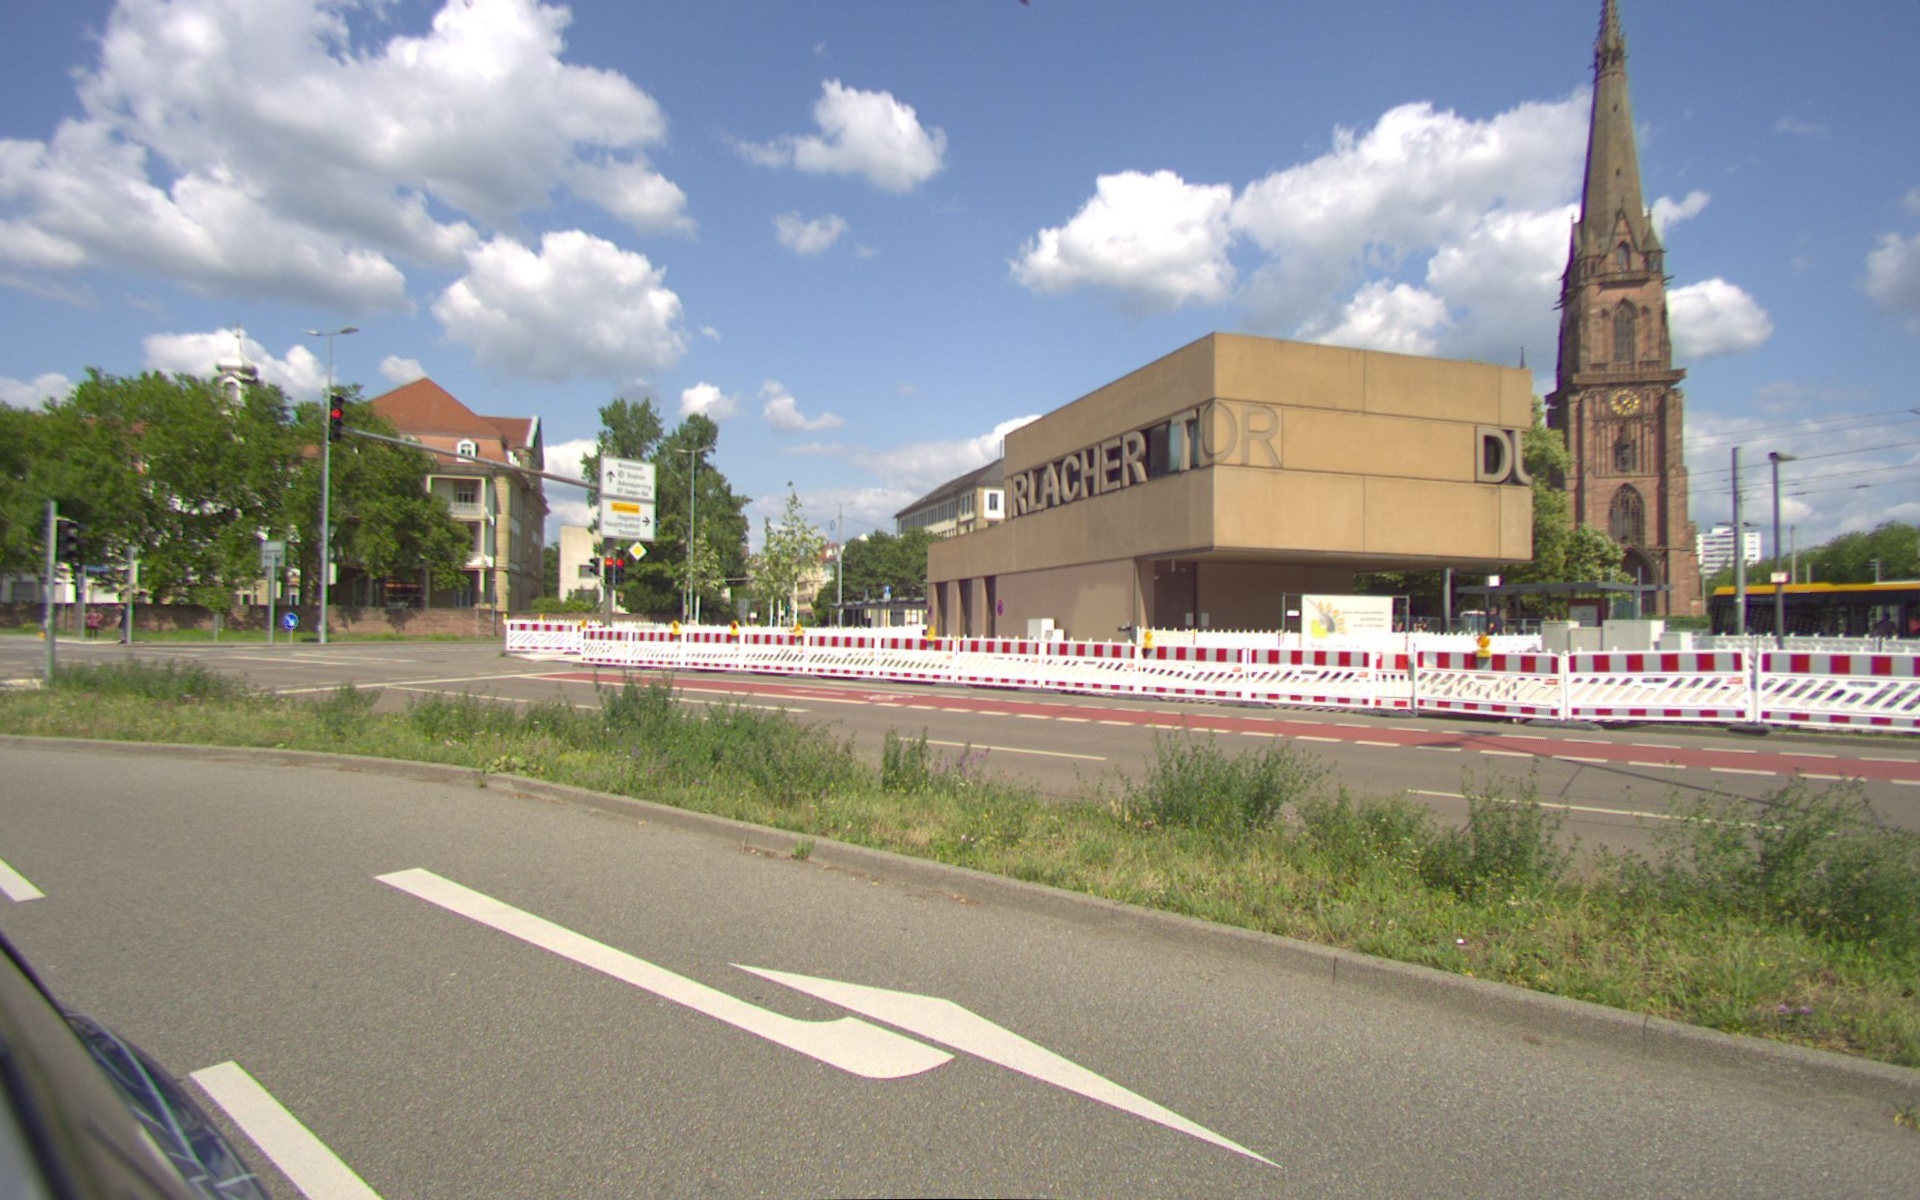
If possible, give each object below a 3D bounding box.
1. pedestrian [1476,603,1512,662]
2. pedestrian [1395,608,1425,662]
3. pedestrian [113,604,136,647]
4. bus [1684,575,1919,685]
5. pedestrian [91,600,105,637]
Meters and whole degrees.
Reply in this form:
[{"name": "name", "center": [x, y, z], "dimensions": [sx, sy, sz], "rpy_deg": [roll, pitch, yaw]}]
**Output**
[{"name": "pedestrian", "center": [14.968, 0.903, 28.349], "dimensions": [0.720, 1.642, 0.561], "rpy_deg": [1, -1, -27]}, {"name": "pedestrian", "center": [13.922, 1.069, 31.308], "dimensions": [0.763, 1.644, 0.646], "rpy_deg": [-1, -1, 30]}, {"name": "pedestrian", "center": [-38.806, 1.176, 47.019], "dimensions": [0.616, 2.009, 0.579], "rpy_deg": [-1, 0, 13]}, {"name": "bus", "center": [28.750, 0.886, 29.759], "dimensions": [2.785, 3.160, 12.880], "rpy_deg": [1, -2, -18]}, {"name": "pedestrian", "center": [-40.537, 0.864, 47.594], "dimensions": [0.363, 1.745, 0.452], "rpy_deg": [-1, 0, -22]}]
